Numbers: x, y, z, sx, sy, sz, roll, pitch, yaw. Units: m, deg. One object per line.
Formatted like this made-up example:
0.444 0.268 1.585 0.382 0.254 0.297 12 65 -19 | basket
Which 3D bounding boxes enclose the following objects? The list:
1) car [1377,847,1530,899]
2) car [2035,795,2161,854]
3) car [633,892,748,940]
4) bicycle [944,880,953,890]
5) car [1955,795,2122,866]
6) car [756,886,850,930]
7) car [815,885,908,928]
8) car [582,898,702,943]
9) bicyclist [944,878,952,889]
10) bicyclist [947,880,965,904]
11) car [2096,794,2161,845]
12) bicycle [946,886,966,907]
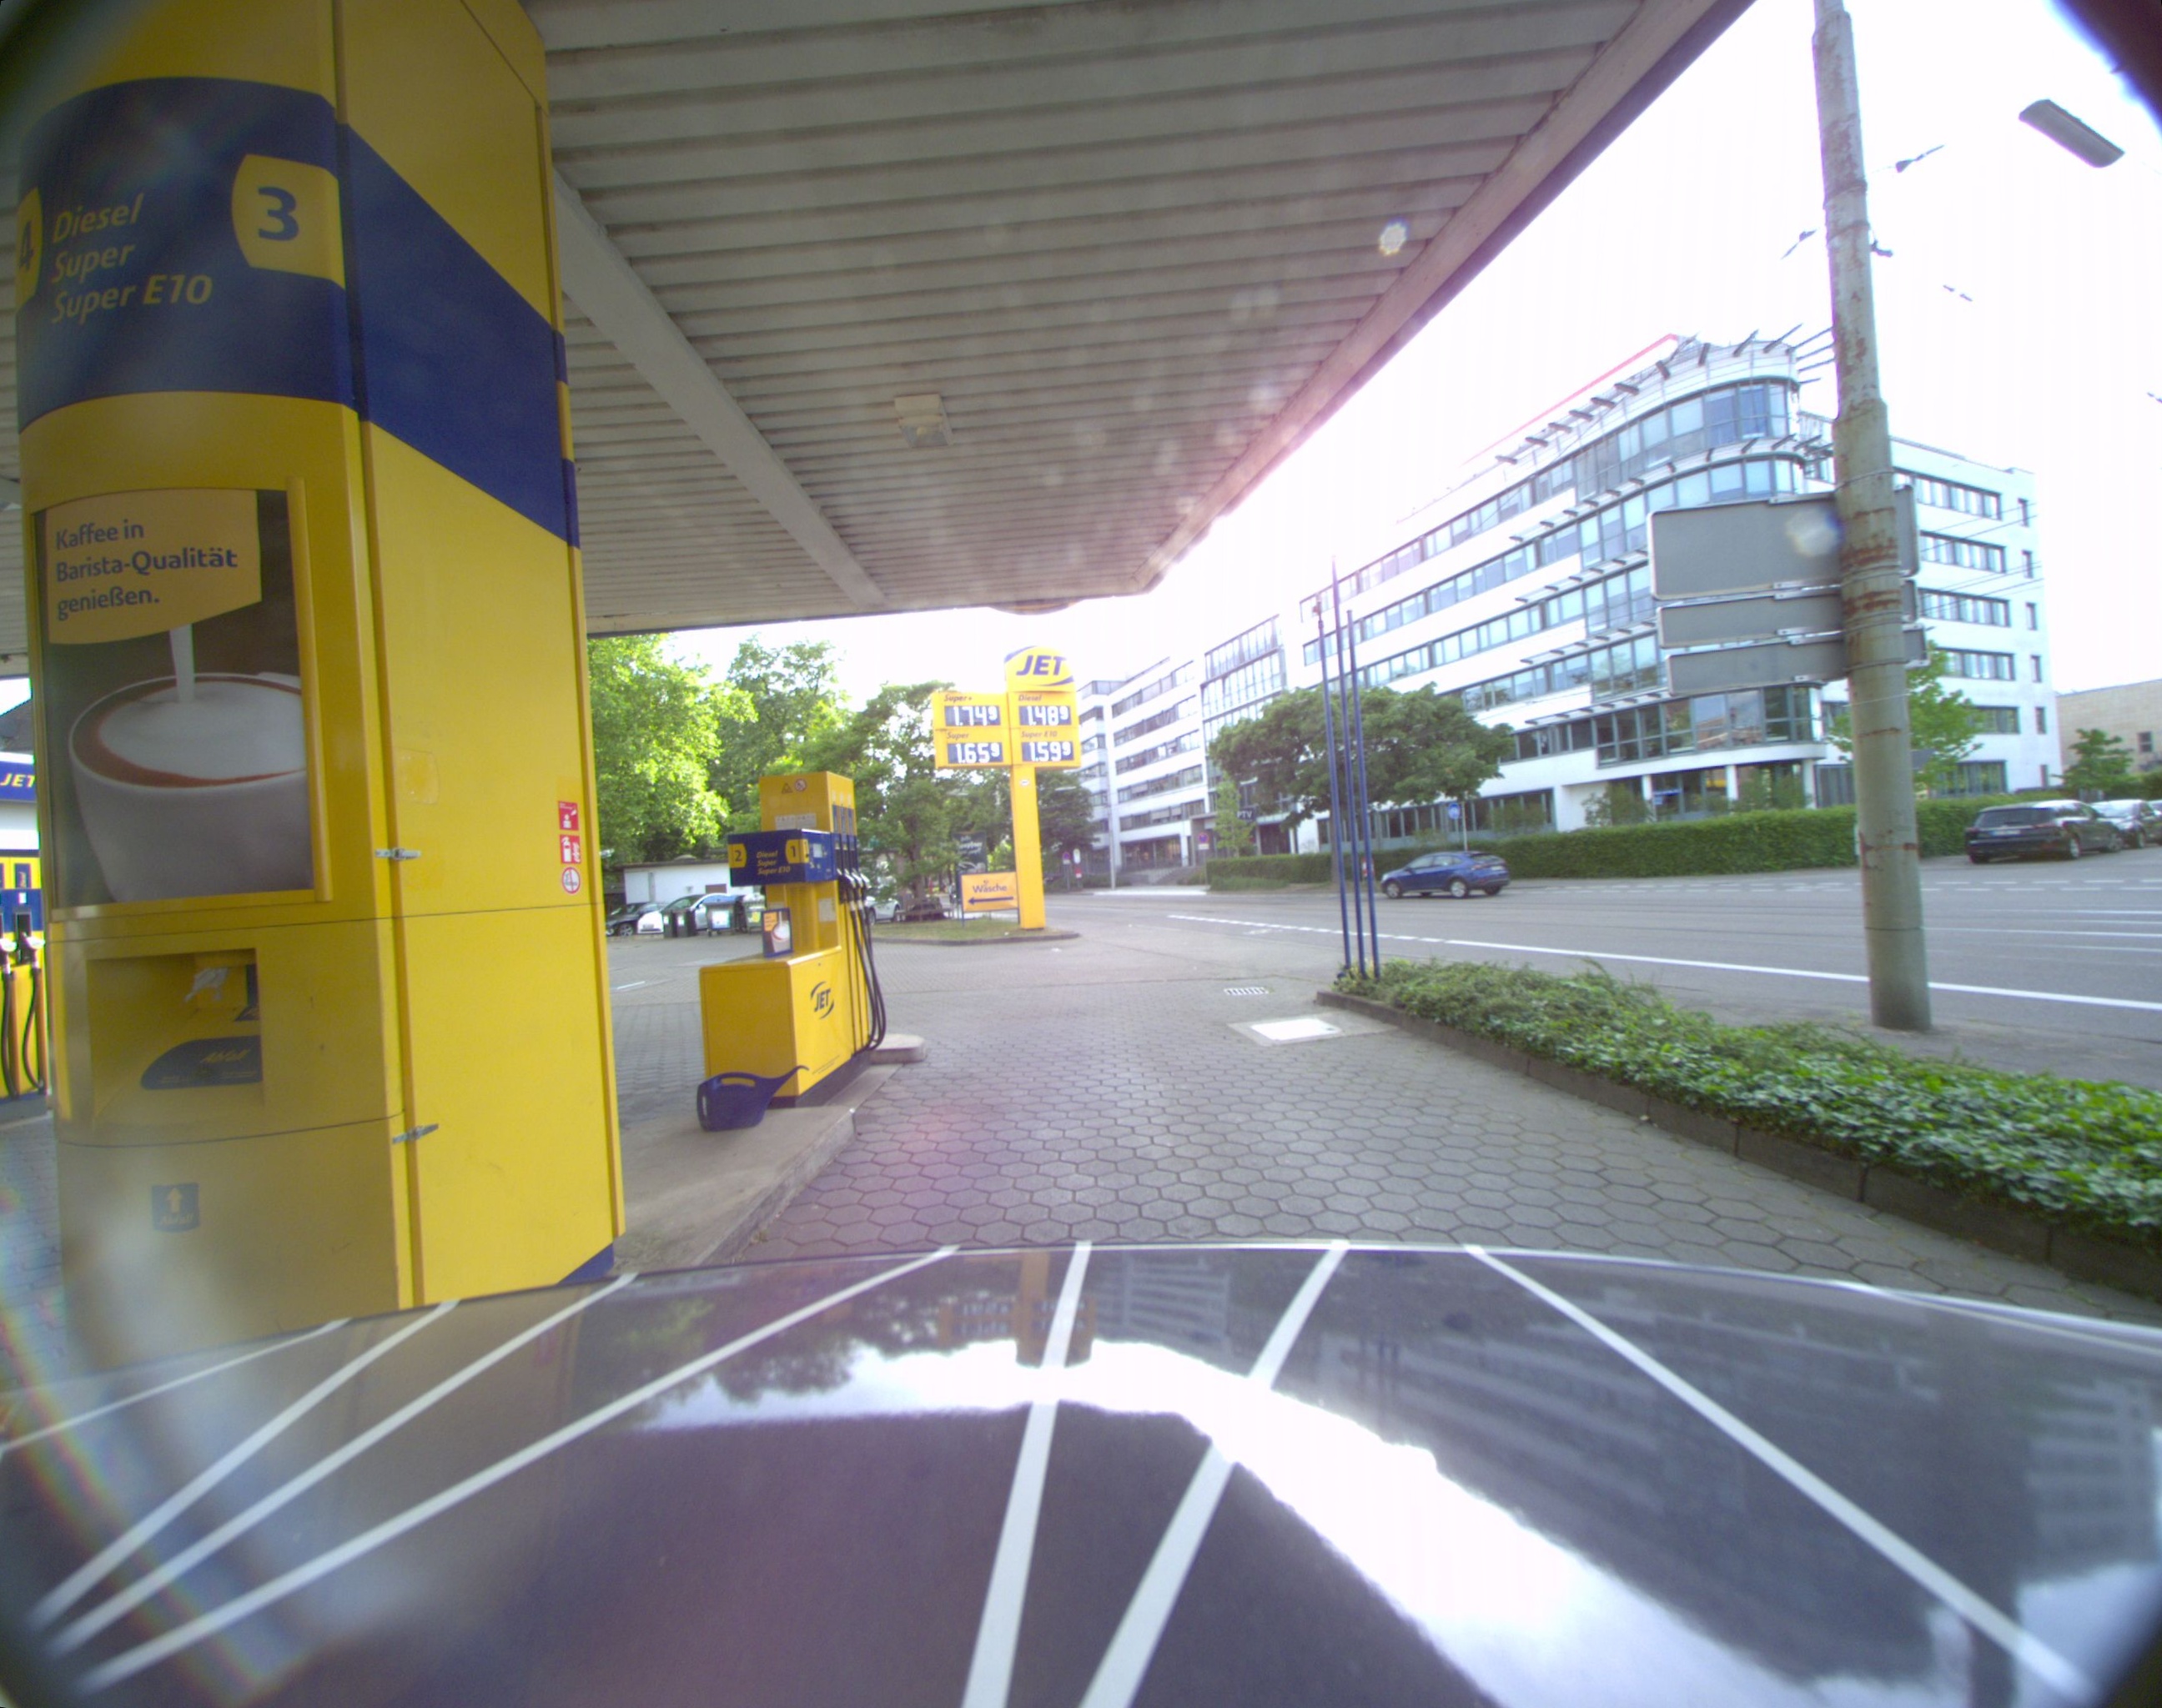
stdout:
12.119 0.663 24.991 1.866 1.461 4.130 -4 -1 -28 | car
32.571 -0.962 24.067 4.201 1.568 1.820 -4 -1 -24 | car
-15.394 2.412 30.252 1.823 1.575 4.200 -4 -2 10 | car
-17.624 4.149 100.871 0.792 1.232 1.879 -2 0 -22 | bicycle
27.413 -0.673 21.756 4.397 1.678 1.820 -4 -1 -24 | car
-11.751 2.265 32.463 1.823 1.575 4.200 -4 -2 10 | car
-8.661 2.046 30.376 1.823 1.449 4.200 -4 -2 10 | car
-17.539 2.631 30.606 1.823 1.426 4.200 -4 -2 10 | car
-17.659 3.935 100.931 0.792 1.443 1.174 -3 1 -22 | bicyclist
-8.147 2.476 49.493 0.854 1.415 1.036 -5 2 -22 | bicyclist
37.100 -1.257 26.015 4.201 1.568 1.820 -4 -1 -24 | car
-8.164 2.749 49.557 0.854 1.232 1.879 -5 1 -22 | bicycle
